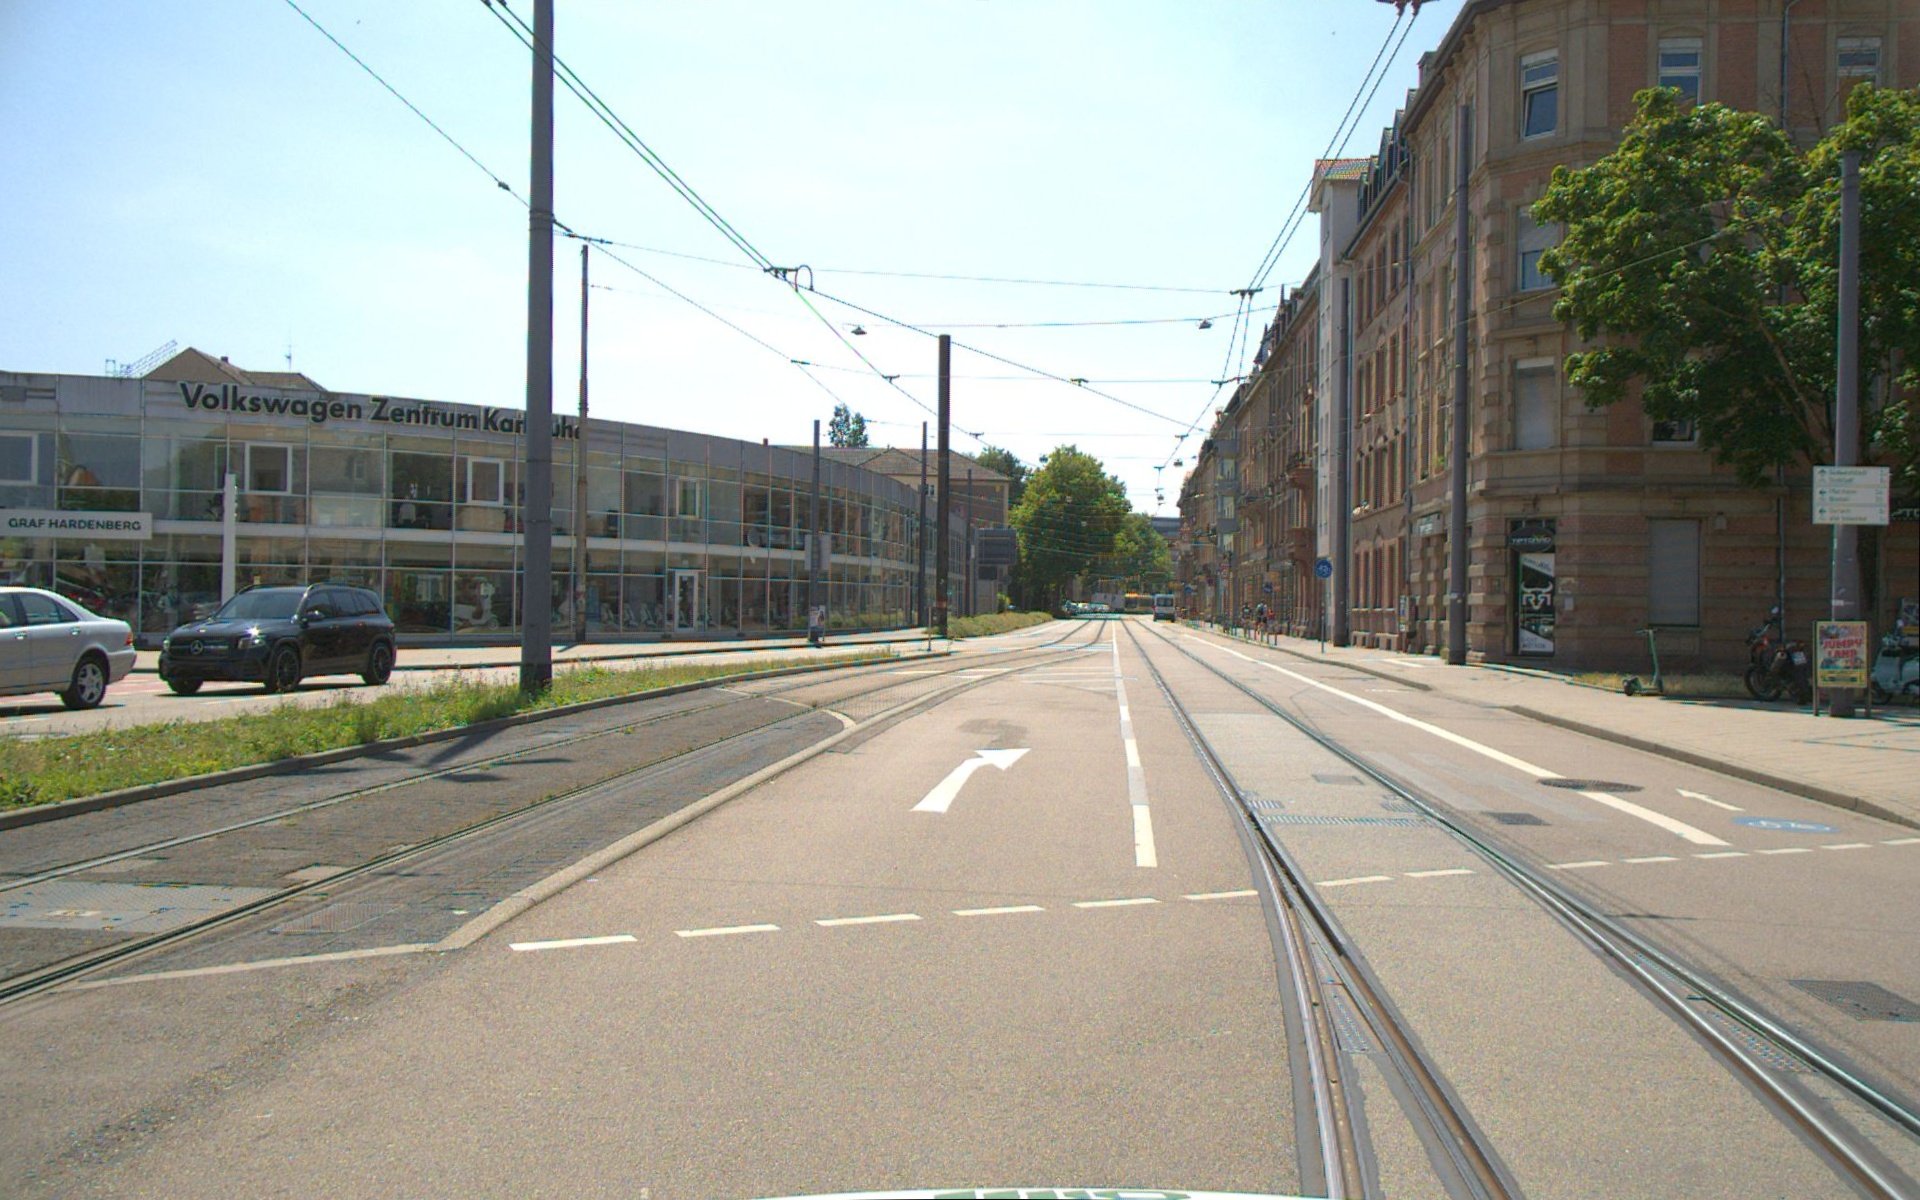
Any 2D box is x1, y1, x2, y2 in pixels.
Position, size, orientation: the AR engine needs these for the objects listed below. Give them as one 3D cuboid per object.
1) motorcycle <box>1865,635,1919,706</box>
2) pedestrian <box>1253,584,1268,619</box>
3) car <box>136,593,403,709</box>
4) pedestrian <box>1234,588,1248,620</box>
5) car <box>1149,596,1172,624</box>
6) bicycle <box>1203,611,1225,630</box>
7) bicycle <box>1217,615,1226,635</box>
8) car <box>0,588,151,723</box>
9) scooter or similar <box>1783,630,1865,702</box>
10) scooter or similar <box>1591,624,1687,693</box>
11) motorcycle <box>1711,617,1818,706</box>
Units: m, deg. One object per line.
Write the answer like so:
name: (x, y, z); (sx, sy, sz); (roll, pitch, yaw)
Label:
motorcycle: (15.651, 1.142, 27.259); (0.676, 1.116, 1.748); (1, -1, 6)
pedestrian: (16.414, 0.070, 90.272); (0.687, 1.881, 0.644); (-3, -1, 6)
car: (-10.719, 0.751, 26.086); (1.783, 1.655, 4.529); (-1, 0, 8)
pedestrian: (15.403, 0.229, 90.700); (0.705, 1.750, 0.644); (0, -1, 6)
car: (19.021, 0.954, 156.887); (2.023, 2.544, 5.458); (2, 0, 6)
bicycle: (15.723, 1.246, 102.302); (0.490, 1.150, 2.236); (0, 0, 33)
bicycle: (14.986, 1.405, 94.862); (0.438, 1.116, 2.425); (0, 0, 11)
car: (-12.023, 0.662, 19.594); (1.951, 1.557, 5.134); (-1, -1, 6)
scooter or similar: (14.475, 1.098, 27.747); (0.588, 1.172, 1.378); (1, -1, -4)
scooter or similar: (11.871, 1.015, 28.919); (1.500, 1.176, 0.710); (1, 0, -23)
motorcycle: (13.321, 0.987, 27.479); (0.747, 1.386, 2.597); (1, -1, 6)
